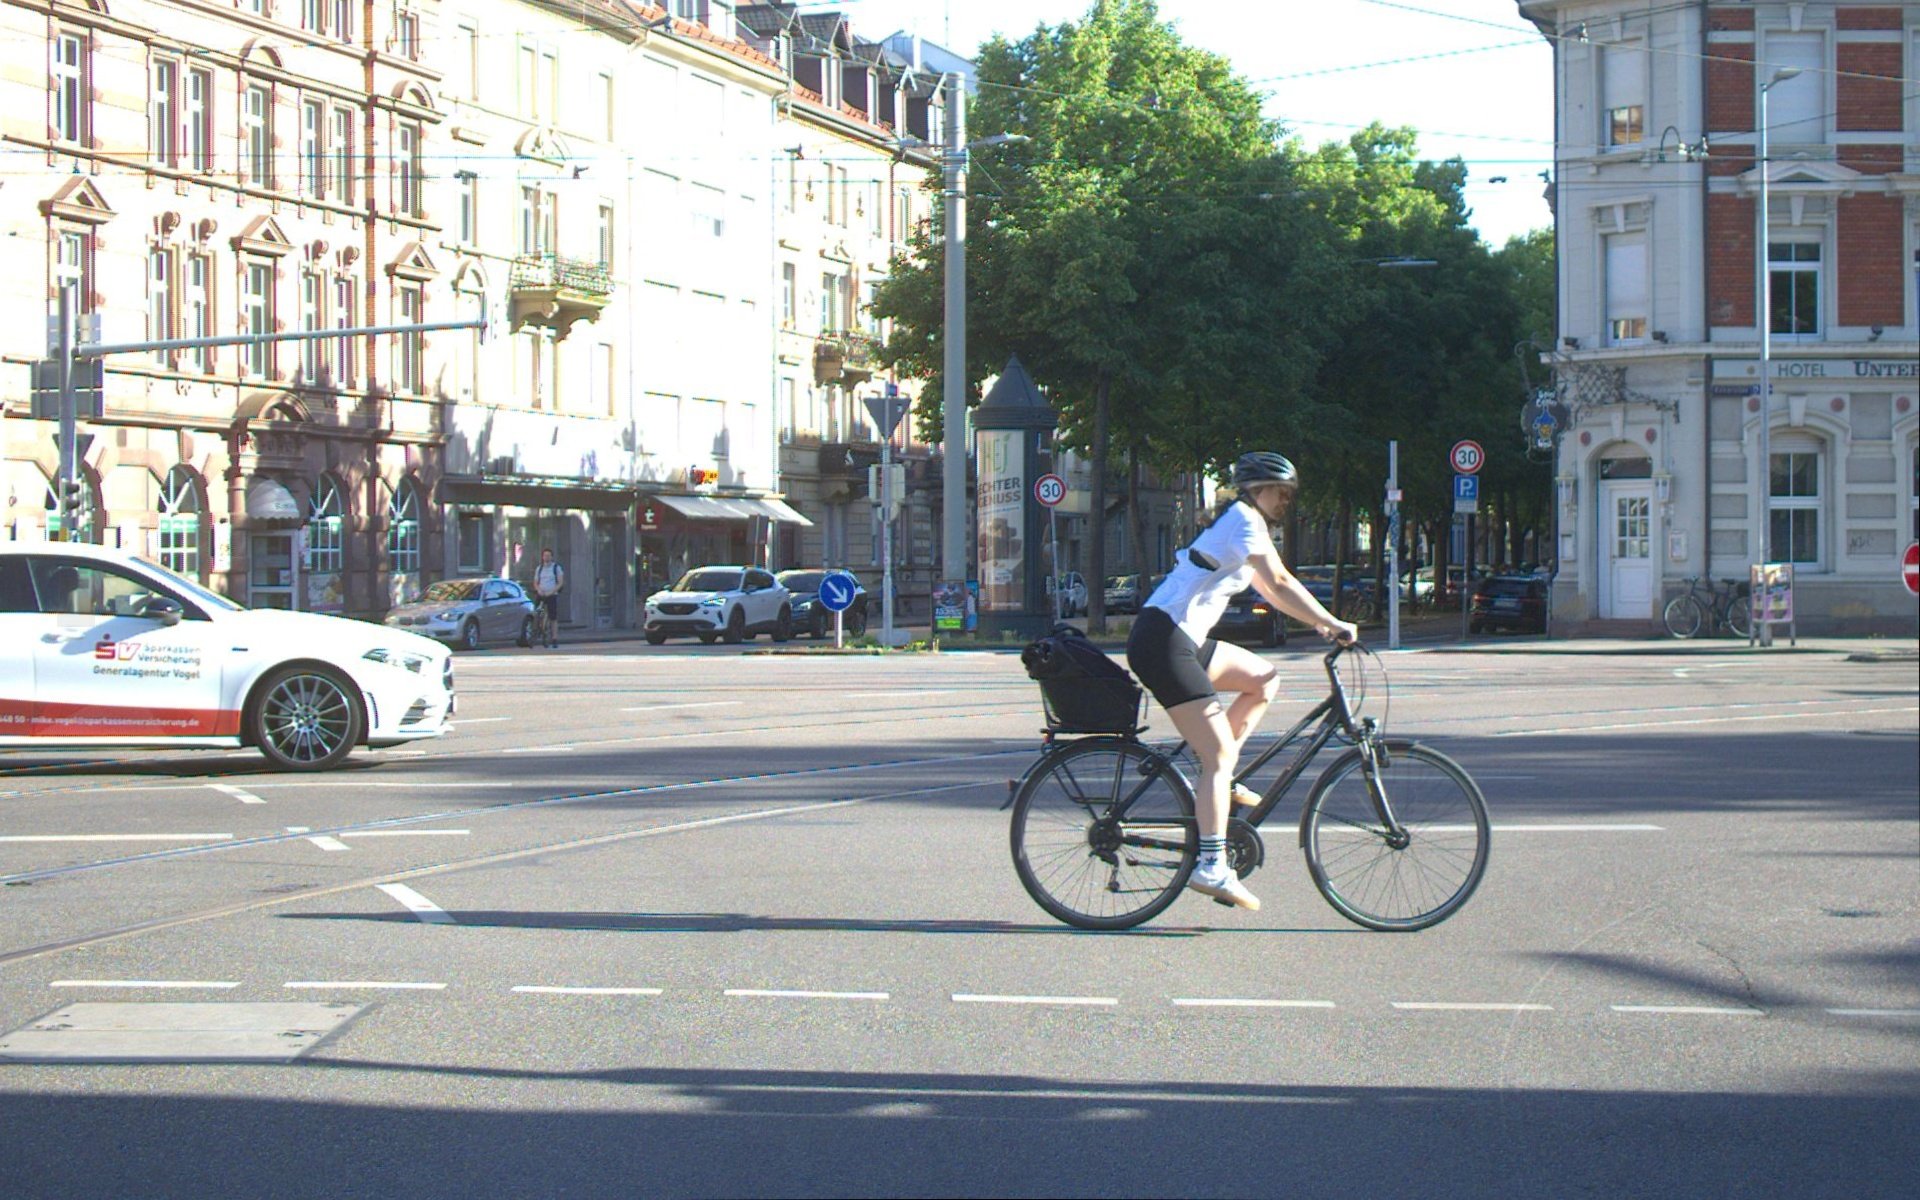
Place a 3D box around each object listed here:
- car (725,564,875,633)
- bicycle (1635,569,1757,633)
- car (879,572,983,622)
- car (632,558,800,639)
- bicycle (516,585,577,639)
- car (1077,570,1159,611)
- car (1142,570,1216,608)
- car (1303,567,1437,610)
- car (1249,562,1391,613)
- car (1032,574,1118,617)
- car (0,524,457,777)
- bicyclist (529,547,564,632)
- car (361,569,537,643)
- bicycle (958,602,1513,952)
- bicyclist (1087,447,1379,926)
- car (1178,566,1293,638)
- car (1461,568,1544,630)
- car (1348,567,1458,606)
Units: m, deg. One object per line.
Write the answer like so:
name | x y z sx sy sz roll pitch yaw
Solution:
car | -3.397 -0.045 73.651 1.995 1.400 4.166 0 1 16
bicycle | 12.272 0.019 57.349 1.953 1.050 0.715 0 1 10
car | -0.841 -0.098 102.097 1.995 1.400 4.166 0 1 16
car | -4.750 -0.057 67.477 1.995 1.511 4.166 0 1 16
bicycle | -7.845 0.229 65.307 0.655 0.997 1.664 1 1 12
car | 5.654 -0.349 122.585 1.995 1.400 4.166 0 1 16
car | 8.407 -0.428 131.413 1.995 1.400 4.166 0 1 16
car | 12.579 -0.358 105.400 3.989 1.284 1.694 0 1 11
car | 10.449 -0.370 99.691 3.989 1.450 1.681 0 1 11
car | 3.941 -0.159 116.867 1.995 1.400 4.166 0 1 16
car | -5.490 0.290 21.281 4.669 1.468 1.742 -1 1 -9
bicyclist | -7.838 -0.206 65.200 0.489 1.596 0.666 0 1 10
car | -9.925 0.099 67.050 1.995 1.357 3.816 0 1 16
bicycle | 0.997 0.627 12.662 1.922 1.219 0.743 0 1 -8
bicyclist | 0.991 0.300 12.654 0.938 1.707 0.734 0 1 -7
car | 5.323 0.013 65.989 1.718 1.296 4.071 0 1 12
car | 13.050 -0.033 82.535 1.756 1.415 3.998 0 1 12
car | 14.365 -0.439 111.472 3.435 1.235 1.576 0 1 11
